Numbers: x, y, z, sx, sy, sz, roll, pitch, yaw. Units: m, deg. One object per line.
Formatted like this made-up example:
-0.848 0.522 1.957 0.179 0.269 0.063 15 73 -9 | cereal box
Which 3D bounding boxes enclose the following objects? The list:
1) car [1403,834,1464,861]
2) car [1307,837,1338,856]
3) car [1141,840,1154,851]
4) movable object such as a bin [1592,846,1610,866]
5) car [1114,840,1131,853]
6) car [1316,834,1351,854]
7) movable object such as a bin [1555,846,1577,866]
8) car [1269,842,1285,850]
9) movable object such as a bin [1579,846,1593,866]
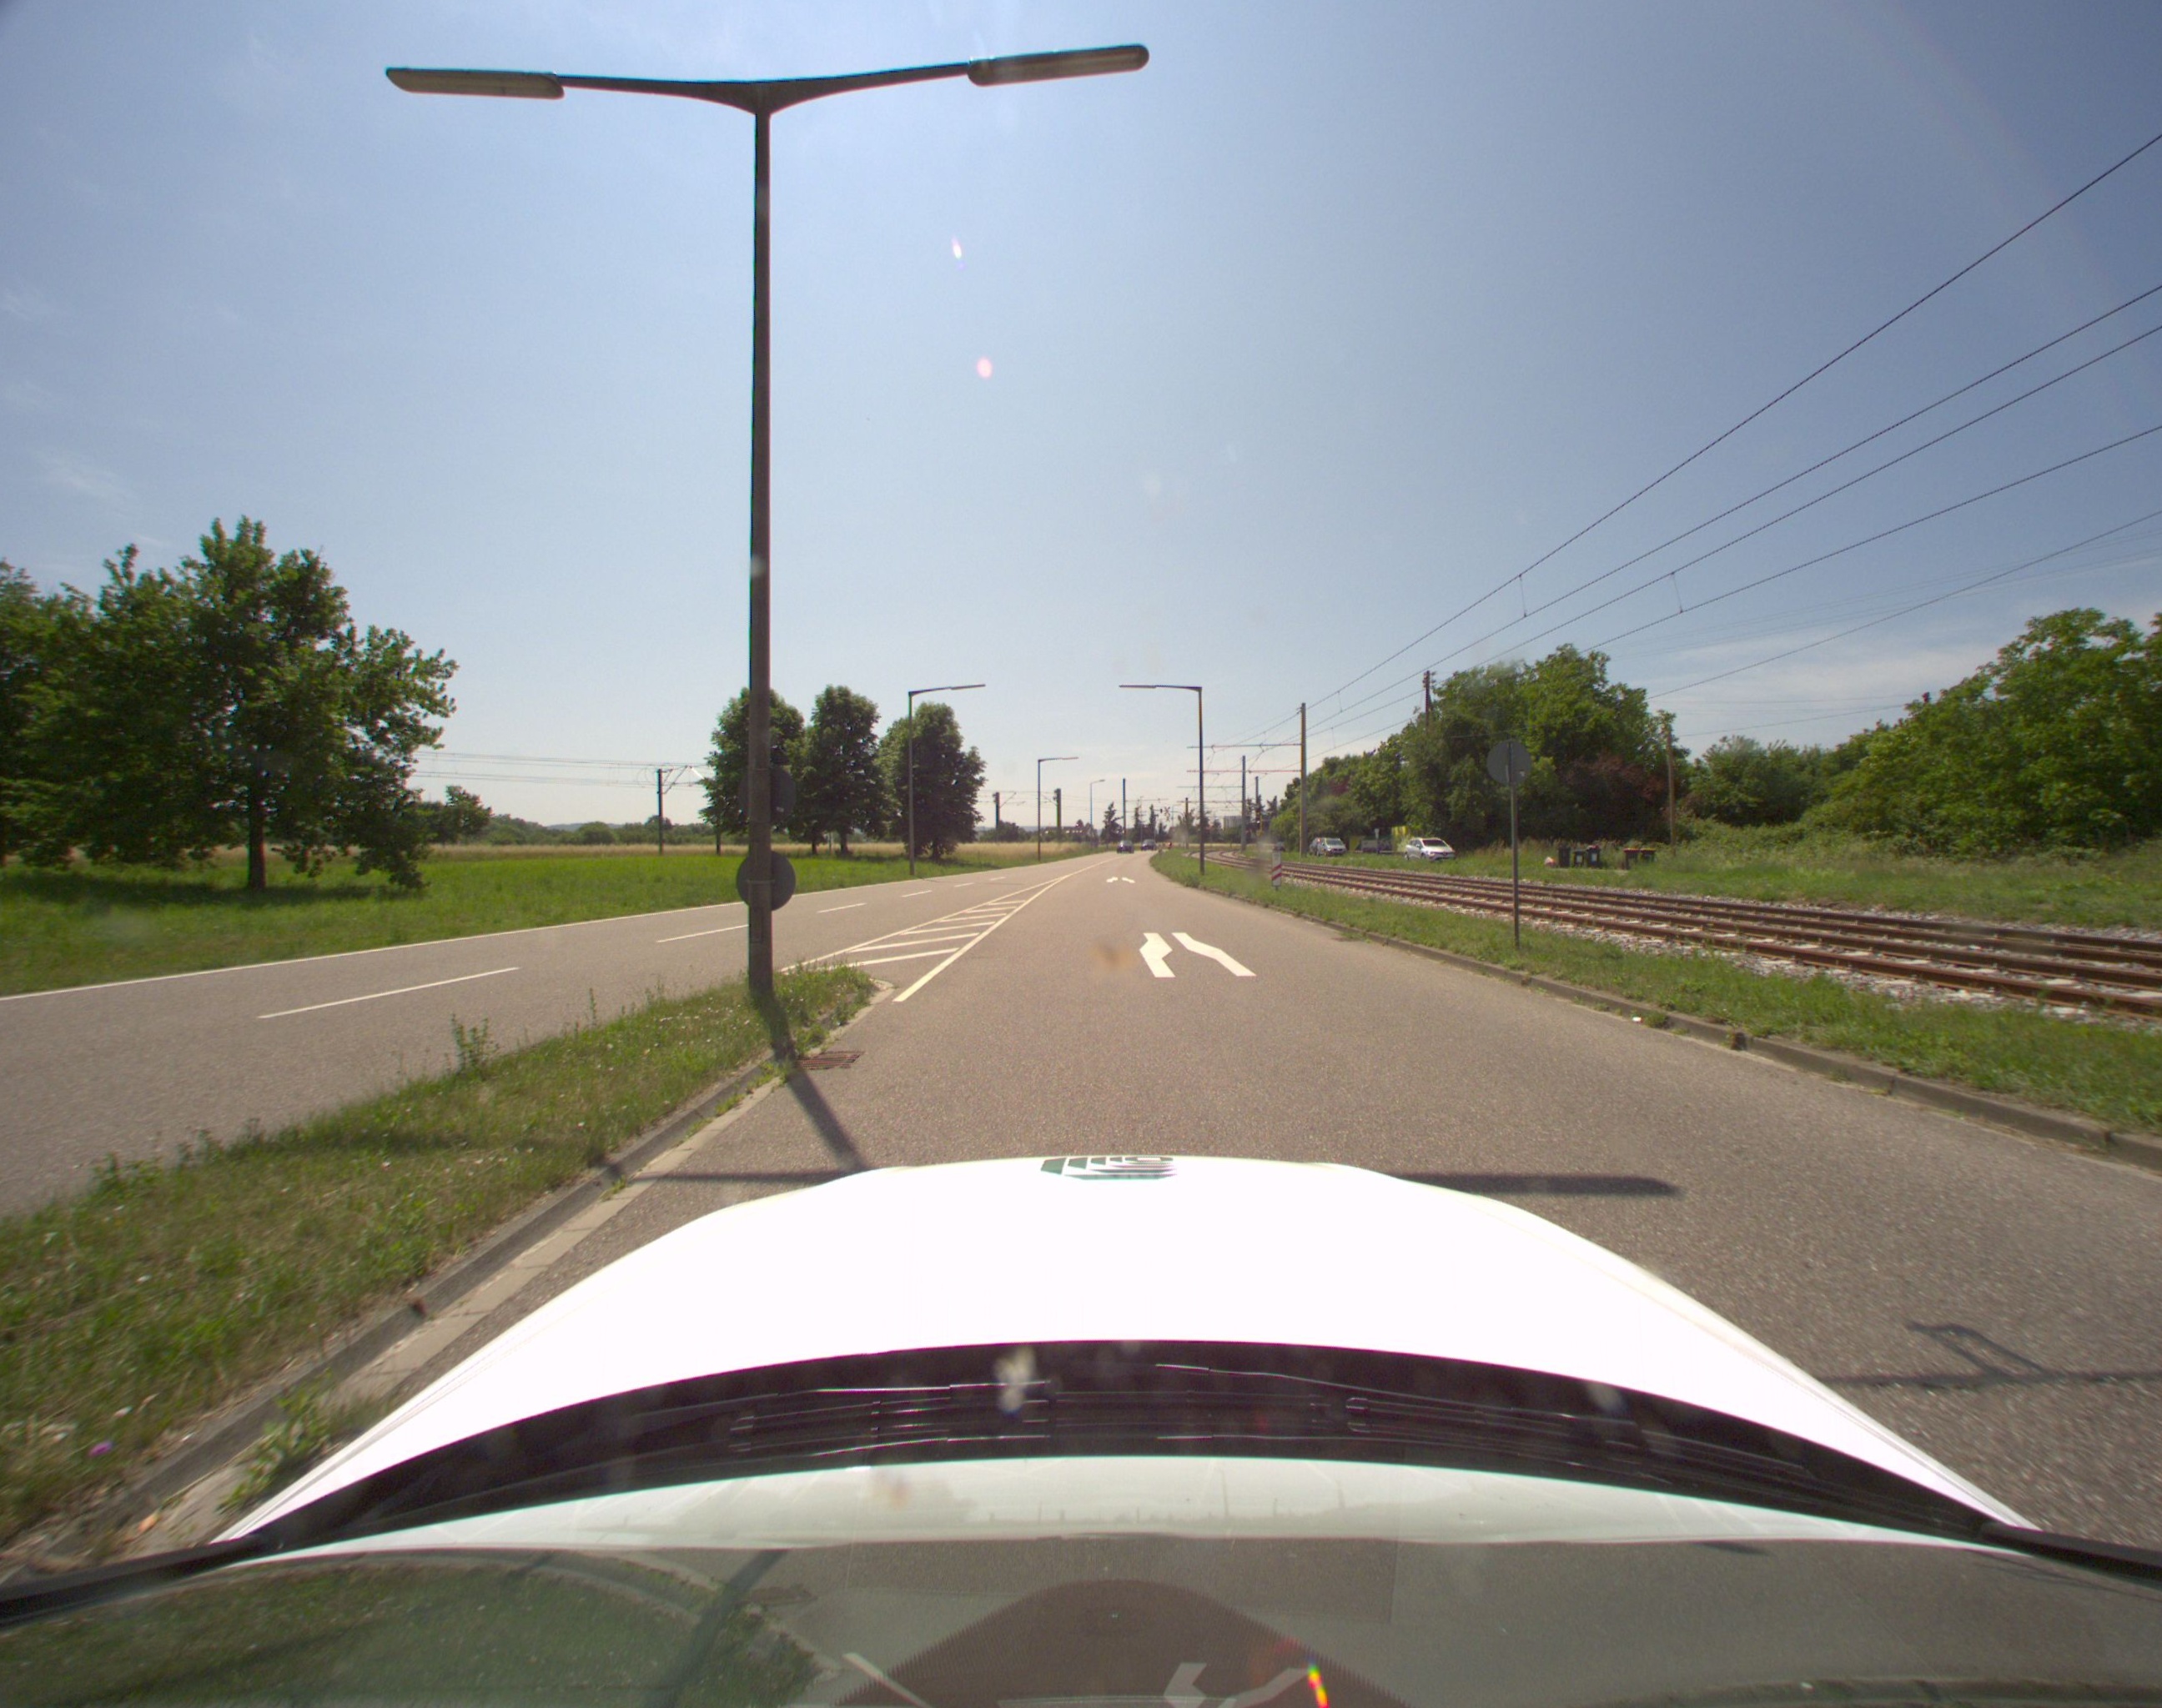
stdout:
19.541 -0.350 45.322 1.673 1.414 4.554 0 0 4 | car
22.297 -0.669 75.422 1.819 1.656 4.823 0 -1 5 | car
9.761 -1.283 119.542 1.817 1.601 4.492 0 1 6 | car
24.337 0.087 38.120 0.579 0.935 0.833 -1 -1 24 | movable object such as a bin
5.084 -0.873 100.085 1.812 1.572 4.120 0 -1 7 | car
21.371 -0.818 69.092 1.670 1.624 4.714 0 -1 3 | car
22.786 0.100 38.241 0.793 0.935 0.784 -1 -1 24 | movable object such as a bin
27.699 -1.111 115.267 1.637 1.170 3.673 -1 1 4 | car
23.806 0.094 38.427 0.443 0.935 0.807 -1 -1 24 | movable object such as a bin
